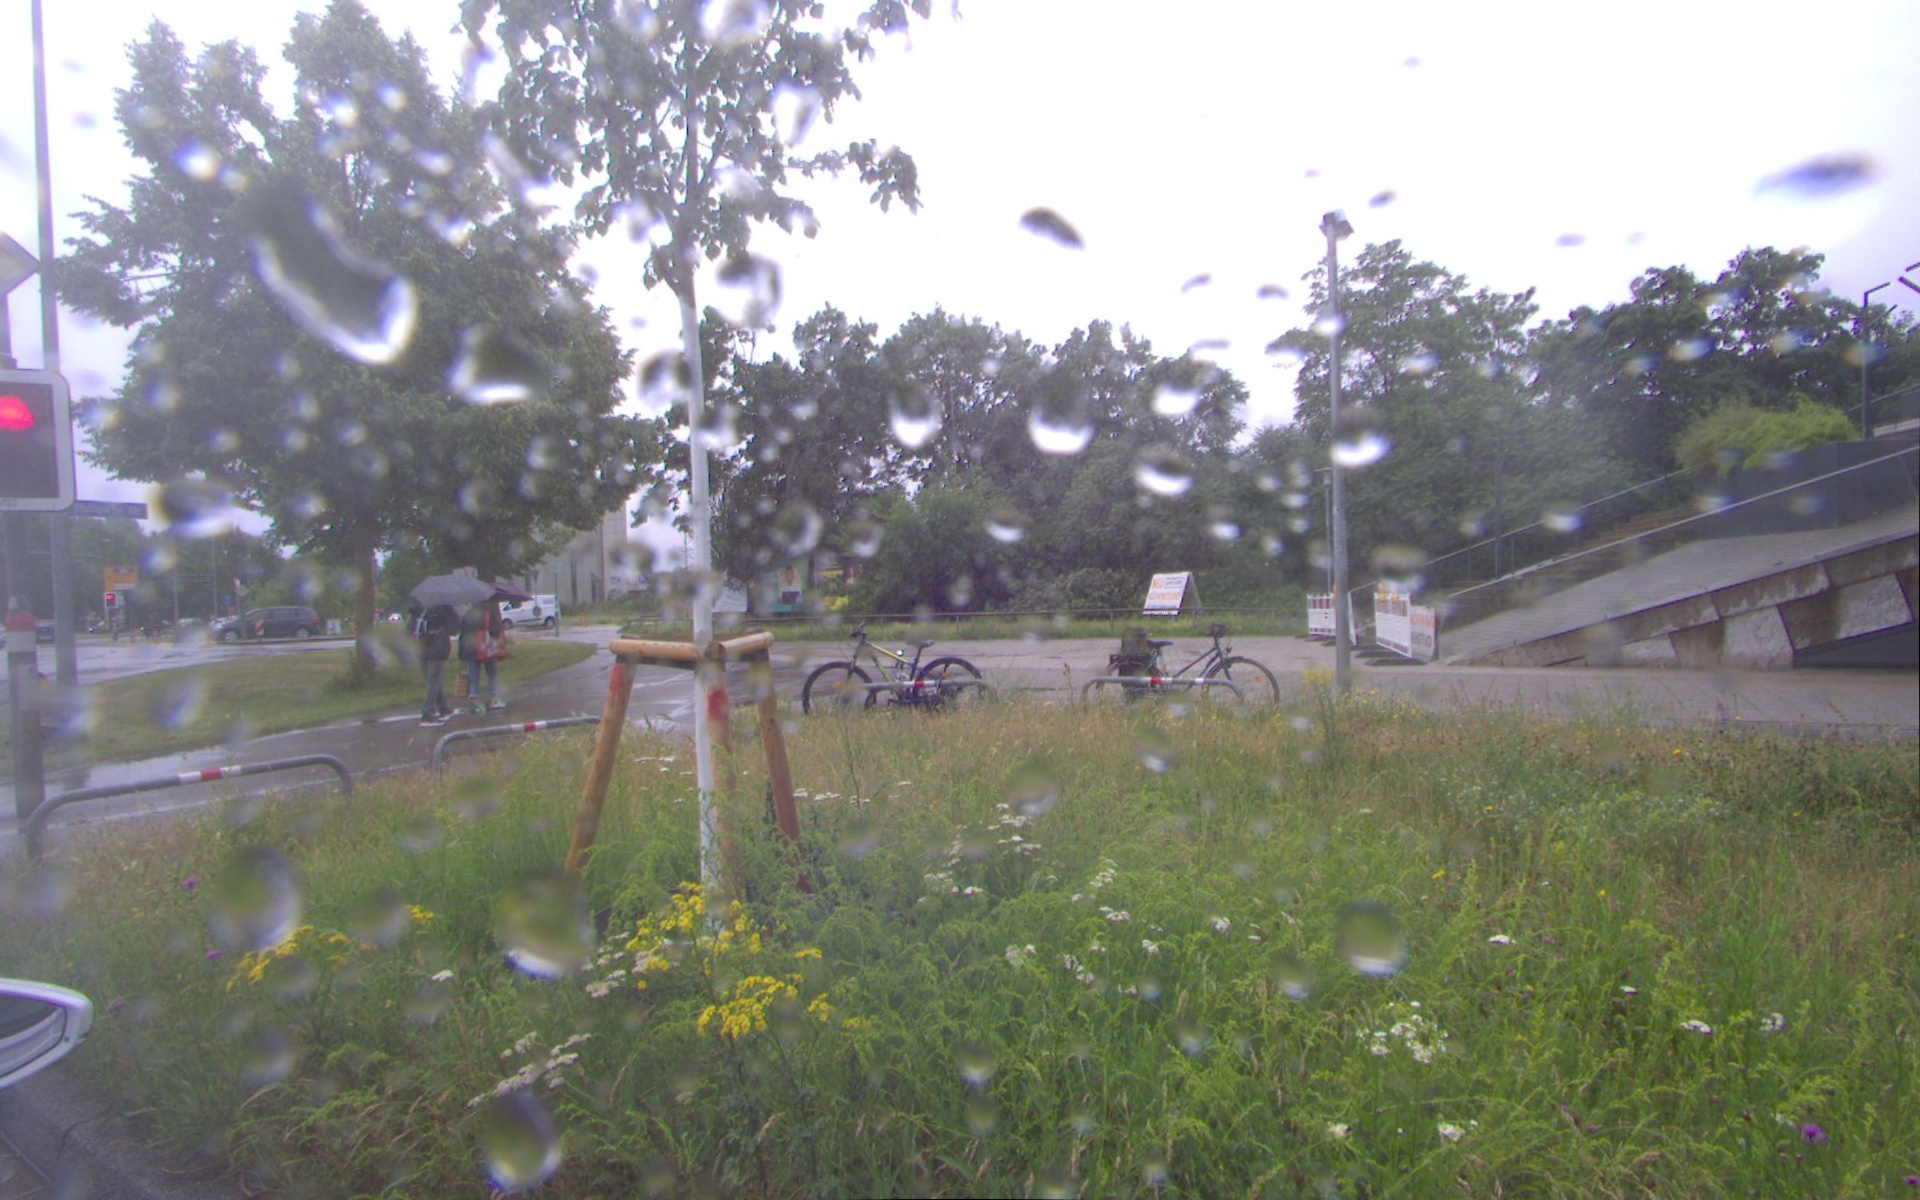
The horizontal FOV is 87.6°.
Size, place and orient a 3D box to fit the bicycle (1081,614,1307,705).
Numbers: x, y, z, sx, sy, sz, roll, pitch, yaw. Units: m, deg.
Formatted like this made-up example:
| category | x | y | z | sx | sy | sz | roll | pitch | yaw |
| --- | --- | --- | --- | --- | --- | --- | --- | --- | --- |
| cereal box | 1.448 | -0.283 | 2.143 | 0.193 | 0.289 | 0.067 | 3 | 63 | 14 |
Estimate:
| category | x | y | z | sx | sy | sz | roll | pitch | yaw |
| --- | --- | --- | --- | --- | --- | --- | --- | --- | --- |
| bicycle | 2.140 | 0.554 | 9.260 | 1.972 | 0.796 | 0.454 | -1 | -2 | 16 |

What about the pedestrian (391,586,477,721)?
| category | x | y | z | sx | sy | sz | roll | pitch | yaw |
| --- | --- | --- | --- | --- | --- | --- | --- | --- | --- |
| pedestrian | -6.220 | 0.623 | 11.850 | 0.730 | 1.542 | 0.620 | -1 | -1 | 31 |

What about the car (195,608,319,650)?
| category | x | y | z | sx | sy | sz | roll | pitch | yaw |
| --- | --- | --- | --- | --- | --- | --- | --- | --- | --- |
| car | -33.444 | 1.408 | 47.702 | 4.722 | 1.874 | 1.985 | 1 | -3 | -39 |

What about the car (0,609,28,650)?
| category | x | y | z | sx | sy | sz | roll | pitch | yaw |
| --- | --- | --- | --- | --- | --- | --- | --- | --- | --- |
| car | -45.442 | 1.361 | 45.269 | 4.682 | 1.874 | 2.001 | 0 | -2 | 0 |

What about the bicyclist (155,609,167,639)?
| category | x | y | z | sx | sy | sz | roll | pitch | yaw |
| --- | --- | --- | --- | --- | --- | --- | --- | --- | --- |
| bicyclist | -48.236 | 1.468 | 60.438 | 0.491 | 1.764 | 0.585 | 1 | -2 | -44 |

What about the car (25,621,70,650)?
| category | x | y | z | sx | sy | sz | roll | pitch | yaw |
| --- | --- | --- | --- | --- | --- | --- | --- | --- | --- |
| car | -49.926 | 1.907 | 54.781 | 3.947 | 1.473 | 1.608 | -1 | 0 | 45 |

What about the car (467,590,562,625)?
| category | x | y | z | sx | sy | sz | roll | pitch | yaw |
| --- | --- | --- | --- | --- | --- | --- | --- | --- | --- |
| car | -25.890 | 0.456 | 58.316 | 1.973 | 1.874 | 4.750 | -2 | -3 | 33 |

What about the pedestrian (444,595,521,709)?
| category | x | y | z | sx | sy | sz | roll | pitch | yaw |
| --- | --- | --- | --- | --- | --- | --- | --- | --- | --- |
| pedestrian | -6.431 | 0.691 | 13.504 | 0.564 | 1.480 | 0.679 | -1 | 1 | 28 |

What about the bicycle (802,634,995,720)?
| category | x | y | z | sx | sy | sz | roll | pitch | yaw |
| --- | --- | --- | --- | --- | --- | --- | --- | --- | --- |
| bicycle | -0.587 | 0.740 | 9.691 | 1.823 | 0.797 | 0.380 | 0 | -2 | -2 |

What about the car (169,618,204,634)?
| category | x | y | z | sx | sy | sz | roll | pitch | yaw |
| --- | --- | --- | --- | --- | --- | --- | --- | --- | --- |
| car | -86.332 | 2.929 | 111.782 | 1.770 | 1.683 | 3.995 | 0 | -2 | -16 |

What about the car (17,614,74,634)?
| category | x | y | z | sx | sy | sz | roll | pitch | yaw |
| --- | --- | --- | --- | --- | --- | --- | --- | --- | --- |
| car | -78.716 | 2.051 | 86.256 | 1.770 | 1.684 | 4.401 | -1 | 0 | -16 |
